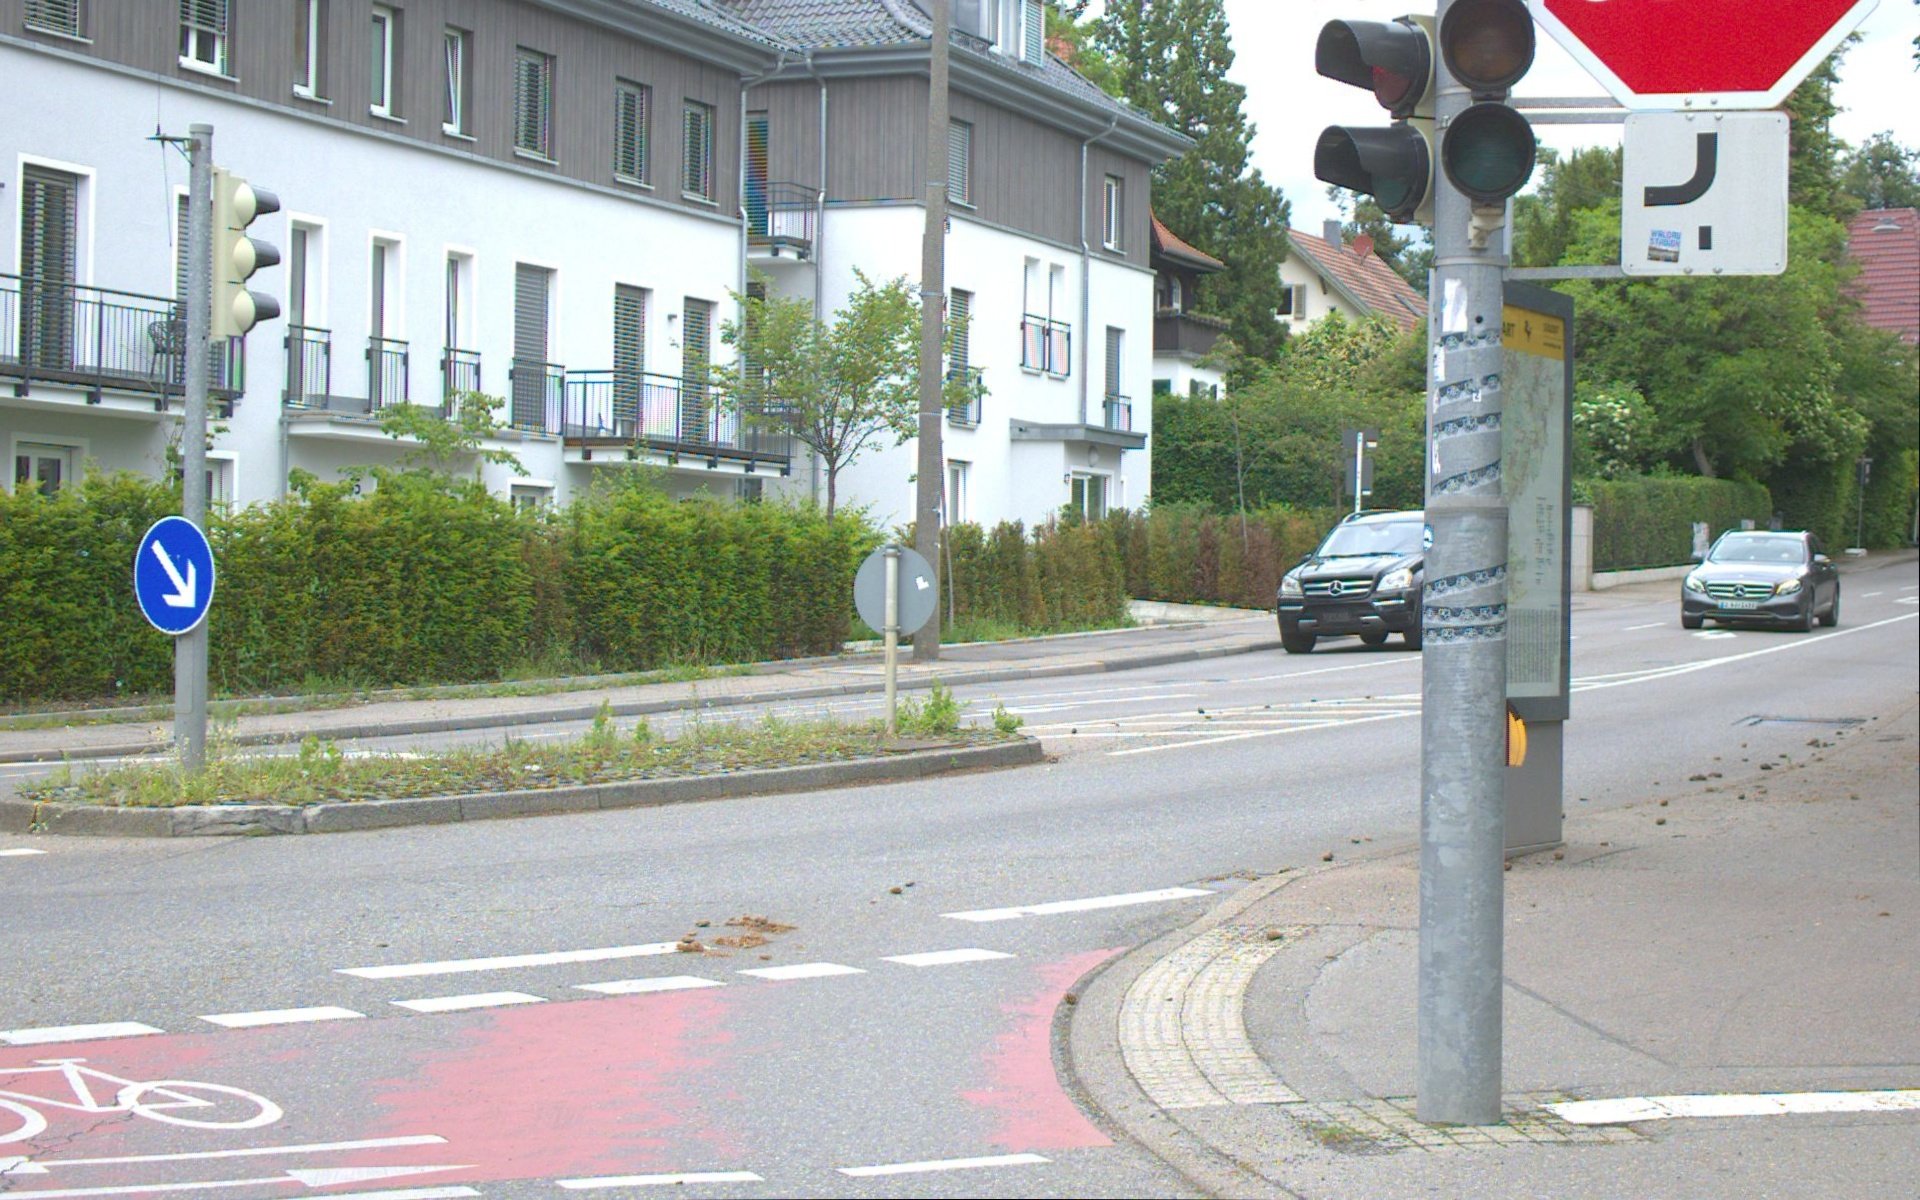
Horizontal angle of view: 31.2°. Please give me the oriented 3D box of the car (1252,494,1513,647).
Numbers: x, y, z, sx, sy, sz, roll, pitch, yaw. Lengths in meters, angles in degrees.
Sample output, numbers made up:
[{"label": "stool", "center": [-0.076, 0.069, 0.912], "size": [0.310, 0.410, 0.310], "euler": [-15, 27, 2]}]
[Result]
[{"label": "car", "center": [5.617, -0.386, 45.123], "size": [1.915, 1.874, 5.135], "euler": [-1, 0, 25]}]

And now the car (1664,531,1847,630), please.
[{"label": "car", "center": [12.051, -0.332, 51.873], "size": [1.941, 1.399, 4.737], "euler": [1, 2, 22]}]
